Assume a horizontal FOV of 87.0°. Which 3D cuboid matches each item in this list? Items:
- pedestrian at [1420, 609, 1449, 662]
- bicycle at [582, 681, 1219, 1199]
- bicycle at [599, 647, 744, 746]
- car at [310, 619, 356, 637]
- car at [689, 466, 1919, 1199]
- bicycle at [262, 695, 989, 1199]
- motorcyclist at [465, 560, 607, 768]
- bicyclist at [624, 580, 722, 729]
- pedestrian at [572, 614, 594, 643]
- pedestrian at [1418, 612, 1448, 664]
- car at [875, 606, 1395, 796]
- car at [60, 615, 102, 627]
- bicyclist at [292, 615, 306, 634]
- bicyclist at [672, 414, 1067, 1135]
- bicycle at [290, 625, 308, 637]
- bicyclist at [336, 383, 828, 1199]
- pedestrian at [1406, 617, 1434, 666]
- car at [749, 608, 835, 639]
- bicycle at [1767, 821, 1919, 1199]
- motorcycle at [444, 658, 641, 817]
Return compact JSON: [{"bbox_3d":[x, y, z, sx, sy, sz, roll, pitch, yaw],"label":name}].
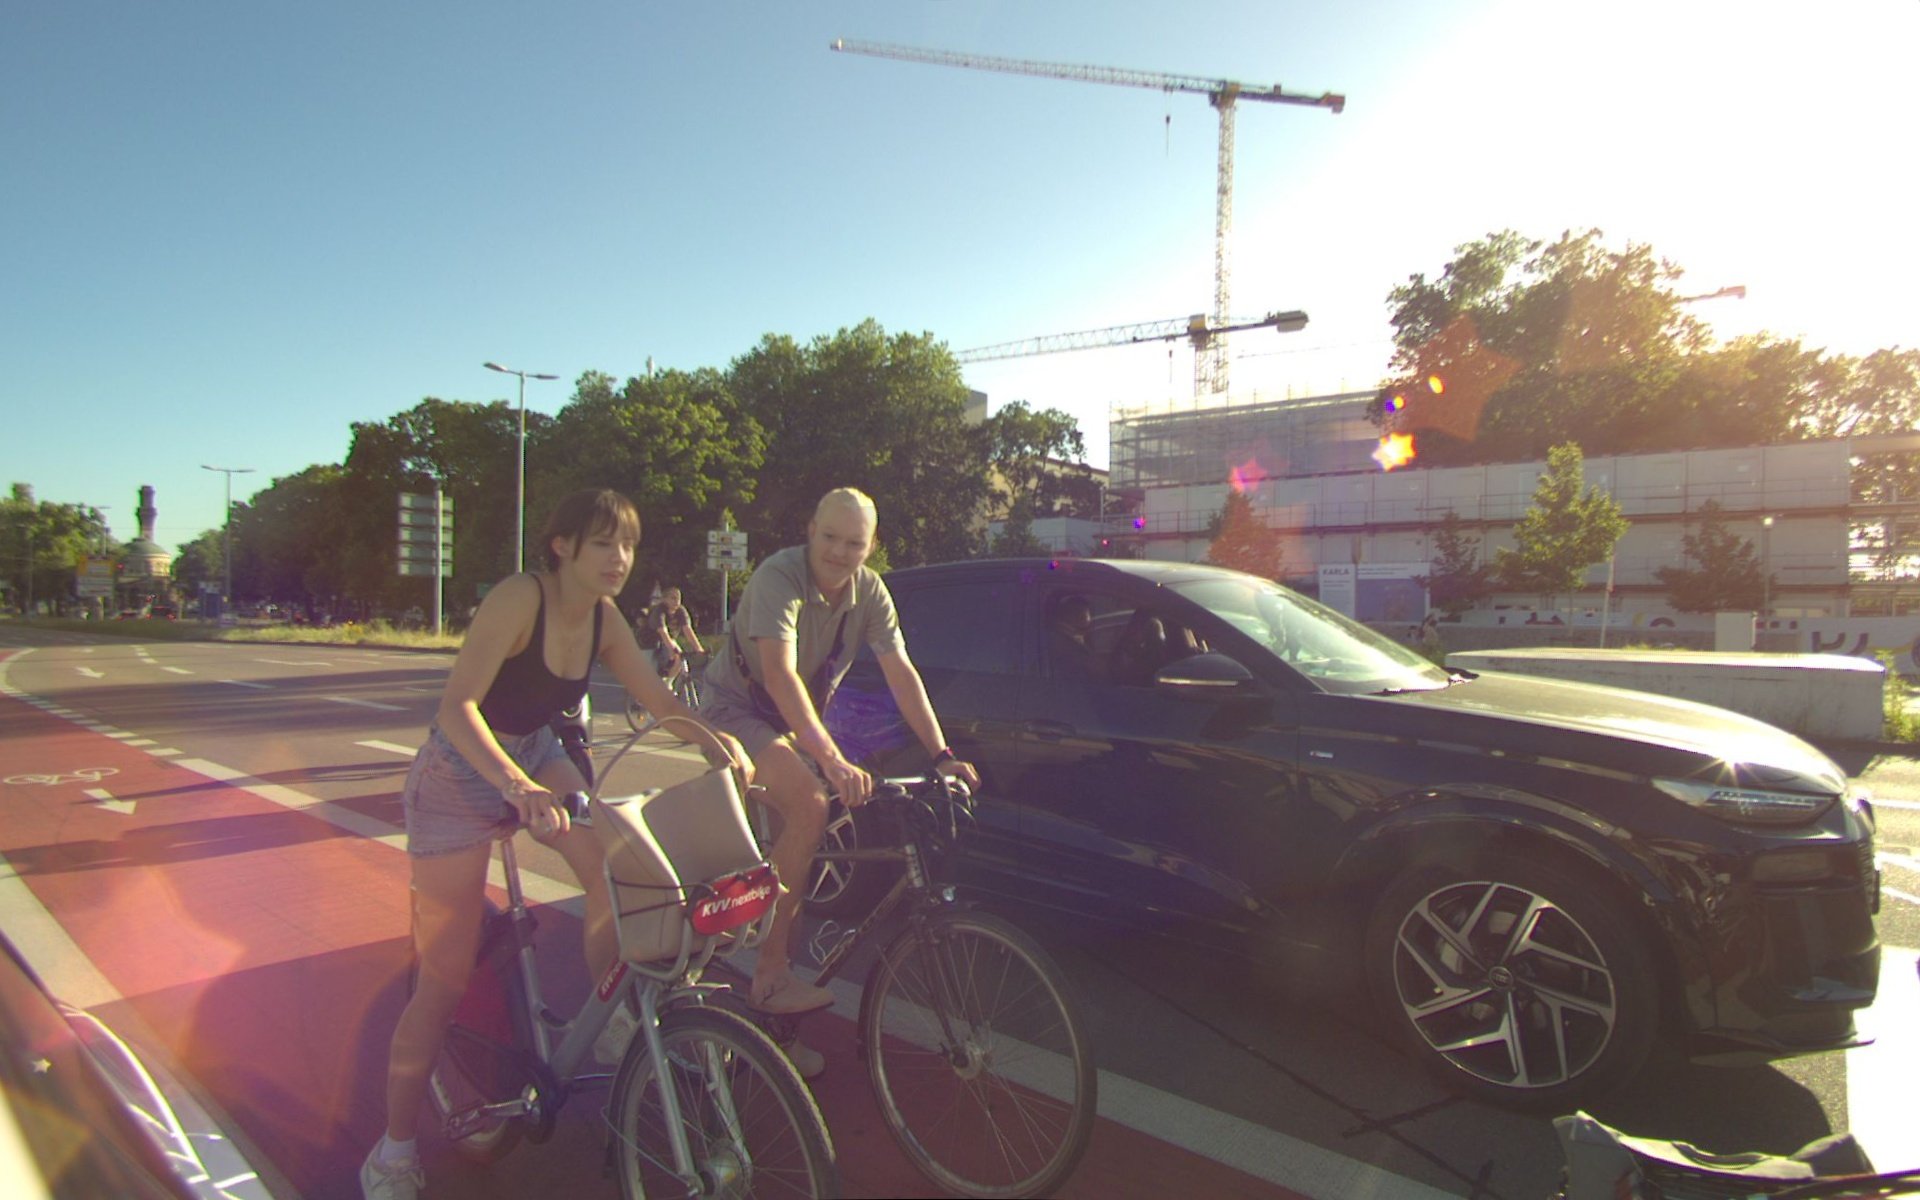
[{"bbox_3d":[15.331,1.138,32.706,0.654,1.693,0.828,-1,-2,42],"label":"pedestrian"},{"bbox_3d":[-0.272,0.838,2.757,1.815,1.125,0.617,0,-2,41],"label":"bicycle"},{"bbox_3d":[-3.139,0.996,10.913,1.910,0.915,0.616,-1,-1,43],"label":"bicycle"},{"bbox_3d":[-42.892,1.929,69.209,3.768,1.141,1.598,0,0,40],"label":"car"},{"bbox_3d":[1.152,0.567,4.468,4.787,1.675,2.172,0,-1,40],"label":"car"},{"bbox_3d":[-0.841,0.826,2.194,1.799,1.102,0.643,0,-1,40],"label":"bicycle"},{"bbox_3d":[-3.297,0.466,7.854,0.746,1.495,0.882,0,-1,-44],"label":"motorcyclist"},{"bbox_3d":[-3.088,0.557,10.871,0.938,1.514,0.616,-1,-1,43],"label":"bicyclist"},{"bbox_3d":[-24.254,1.811,65.167,0.964,1.796,0.984,0,0,42],"label":"pedestrian"},{"bbox_3d":[14.876,1.195,31.802,0.654,1.601,0.828,-1,-2,42],"label":"pedestrian"},{"bbox_3d":[1.440,0.744,9.436,4.521,1.362,1.753,0,0,39],"label":"car"},{"bbox_3d":[-107.901,2.544,124.259,1.619,1.463,3.718,0,0,43],"label":"car"},{"bbox_3d":[-47.590,1.742,72.862,0.768,1.377,0.609,-1,-2,42],"label":"bicyclist"},{"bbox_3d":[-0.256,0.387,2.765,0.894,1.587,0.617,-1,-2,41],"label":"bicyclist"},{"bbox_3d":[-47.597,2.226,72.856,1.979,0.810,0.609,0,-2,42],"label":"bicycle"},{"bbox_3d":[-0.819,0.426,2.187,0.847,1.554,0.643,0,-2,40],"label":"bicyclist"},{"bbox_3d":[14.137,1.269,31.108,0.654,1.464,0.595,-1,-2,42],"label":"pedestrian"},{"bbox_3d":[-10.585,1.488,63.947,2.000,1.906,5.254,-2,-2,43],"label":"car"},{"bbox_3d":[1.630,0.850,0.575,1.797,1.102,0.700,0,-1,37],"label":"bicycle"},{"bbox_3d":[-3.266,0.982,7.811,0.746,0.976,1.961,0,-1,-44],"label":"motorcycle"}]
